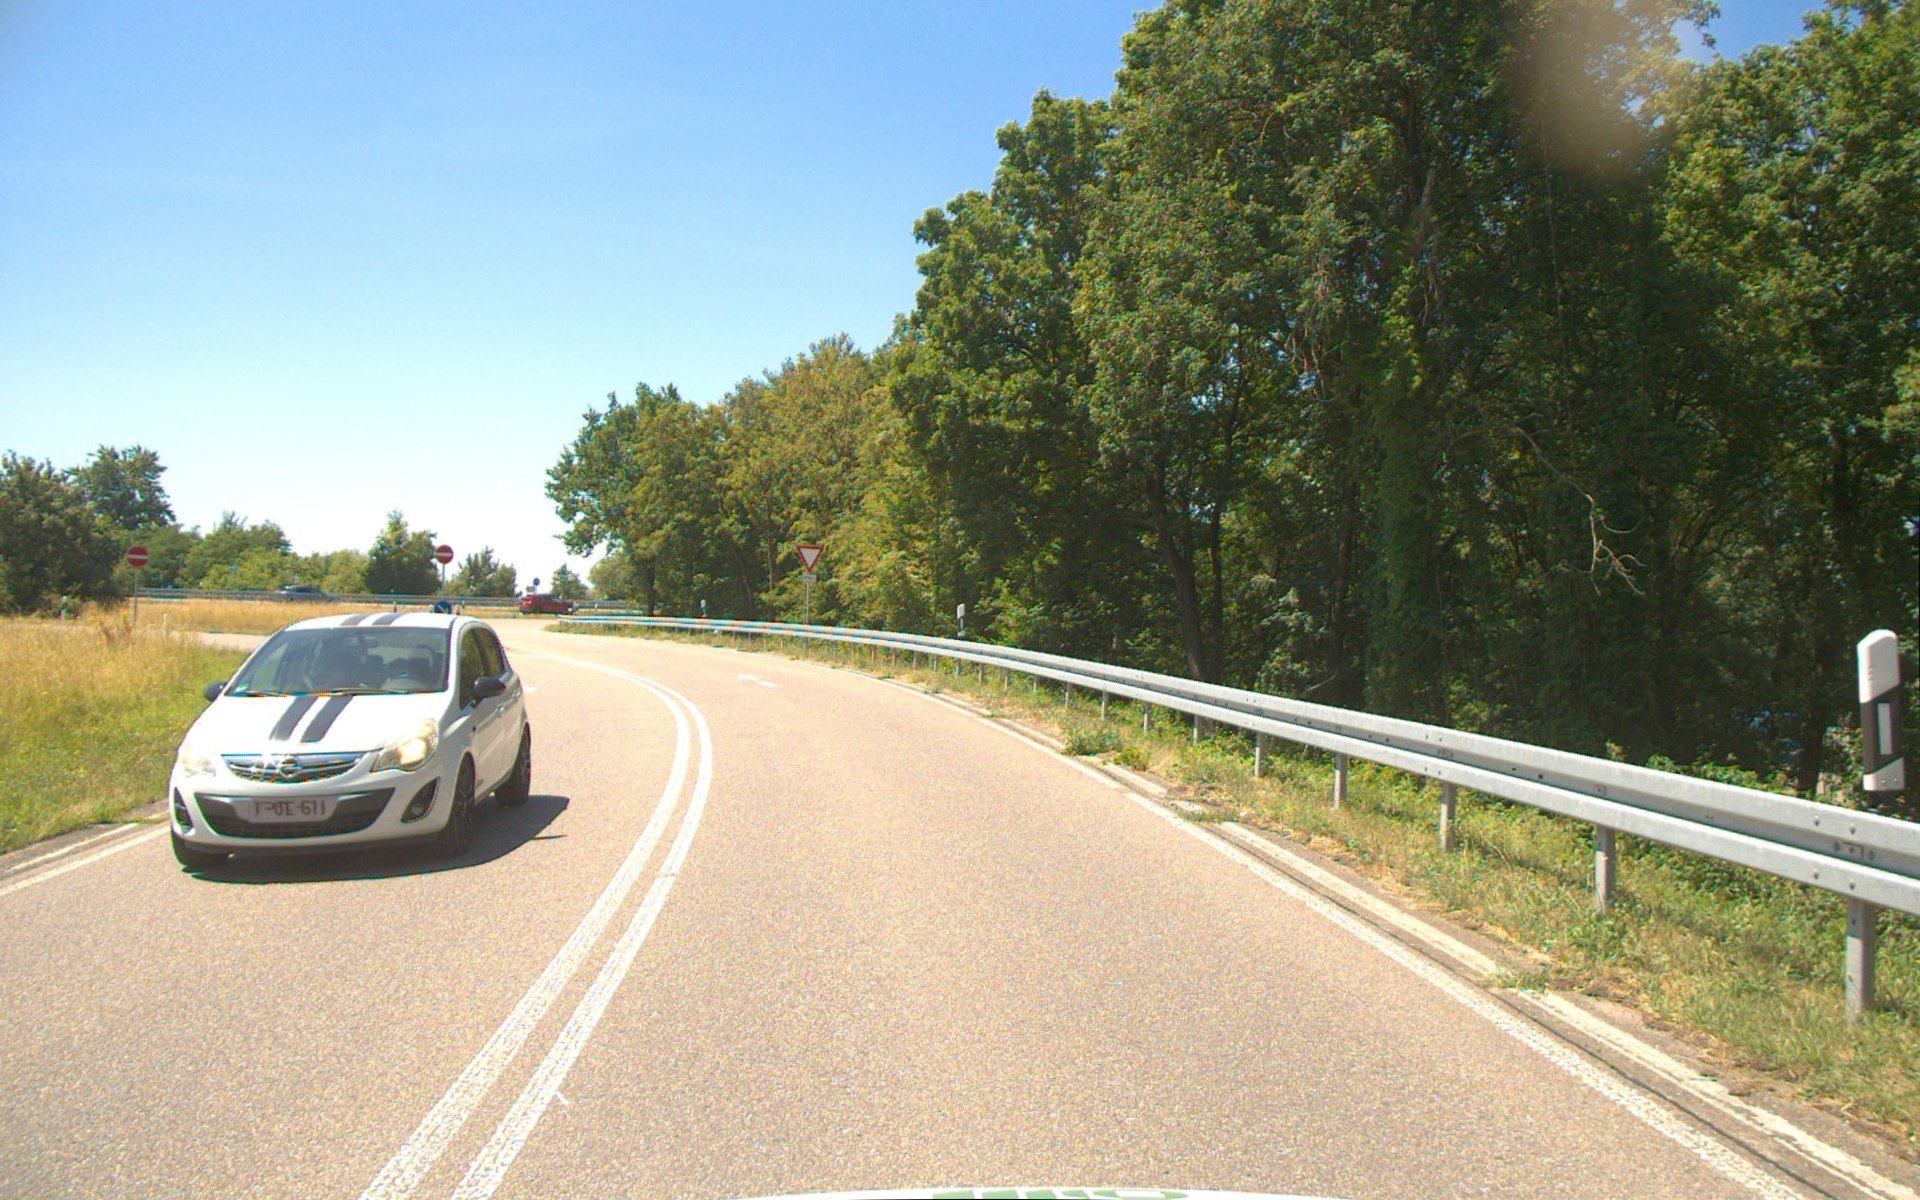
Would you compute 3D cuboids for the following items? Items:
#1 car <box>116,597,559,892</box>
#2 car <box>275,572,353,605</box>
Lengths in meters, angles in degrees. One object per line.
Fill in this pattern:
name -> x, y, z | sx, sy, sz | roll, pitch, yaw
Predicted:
car -> -3.921, 0.782, 11.194 | 1.787, 1.533, 4.166 | -2, 1, -7
car -> -43.935, -0.790, 112.478 | 1.966, 1.961, 4.498 | 0, -3, 43
